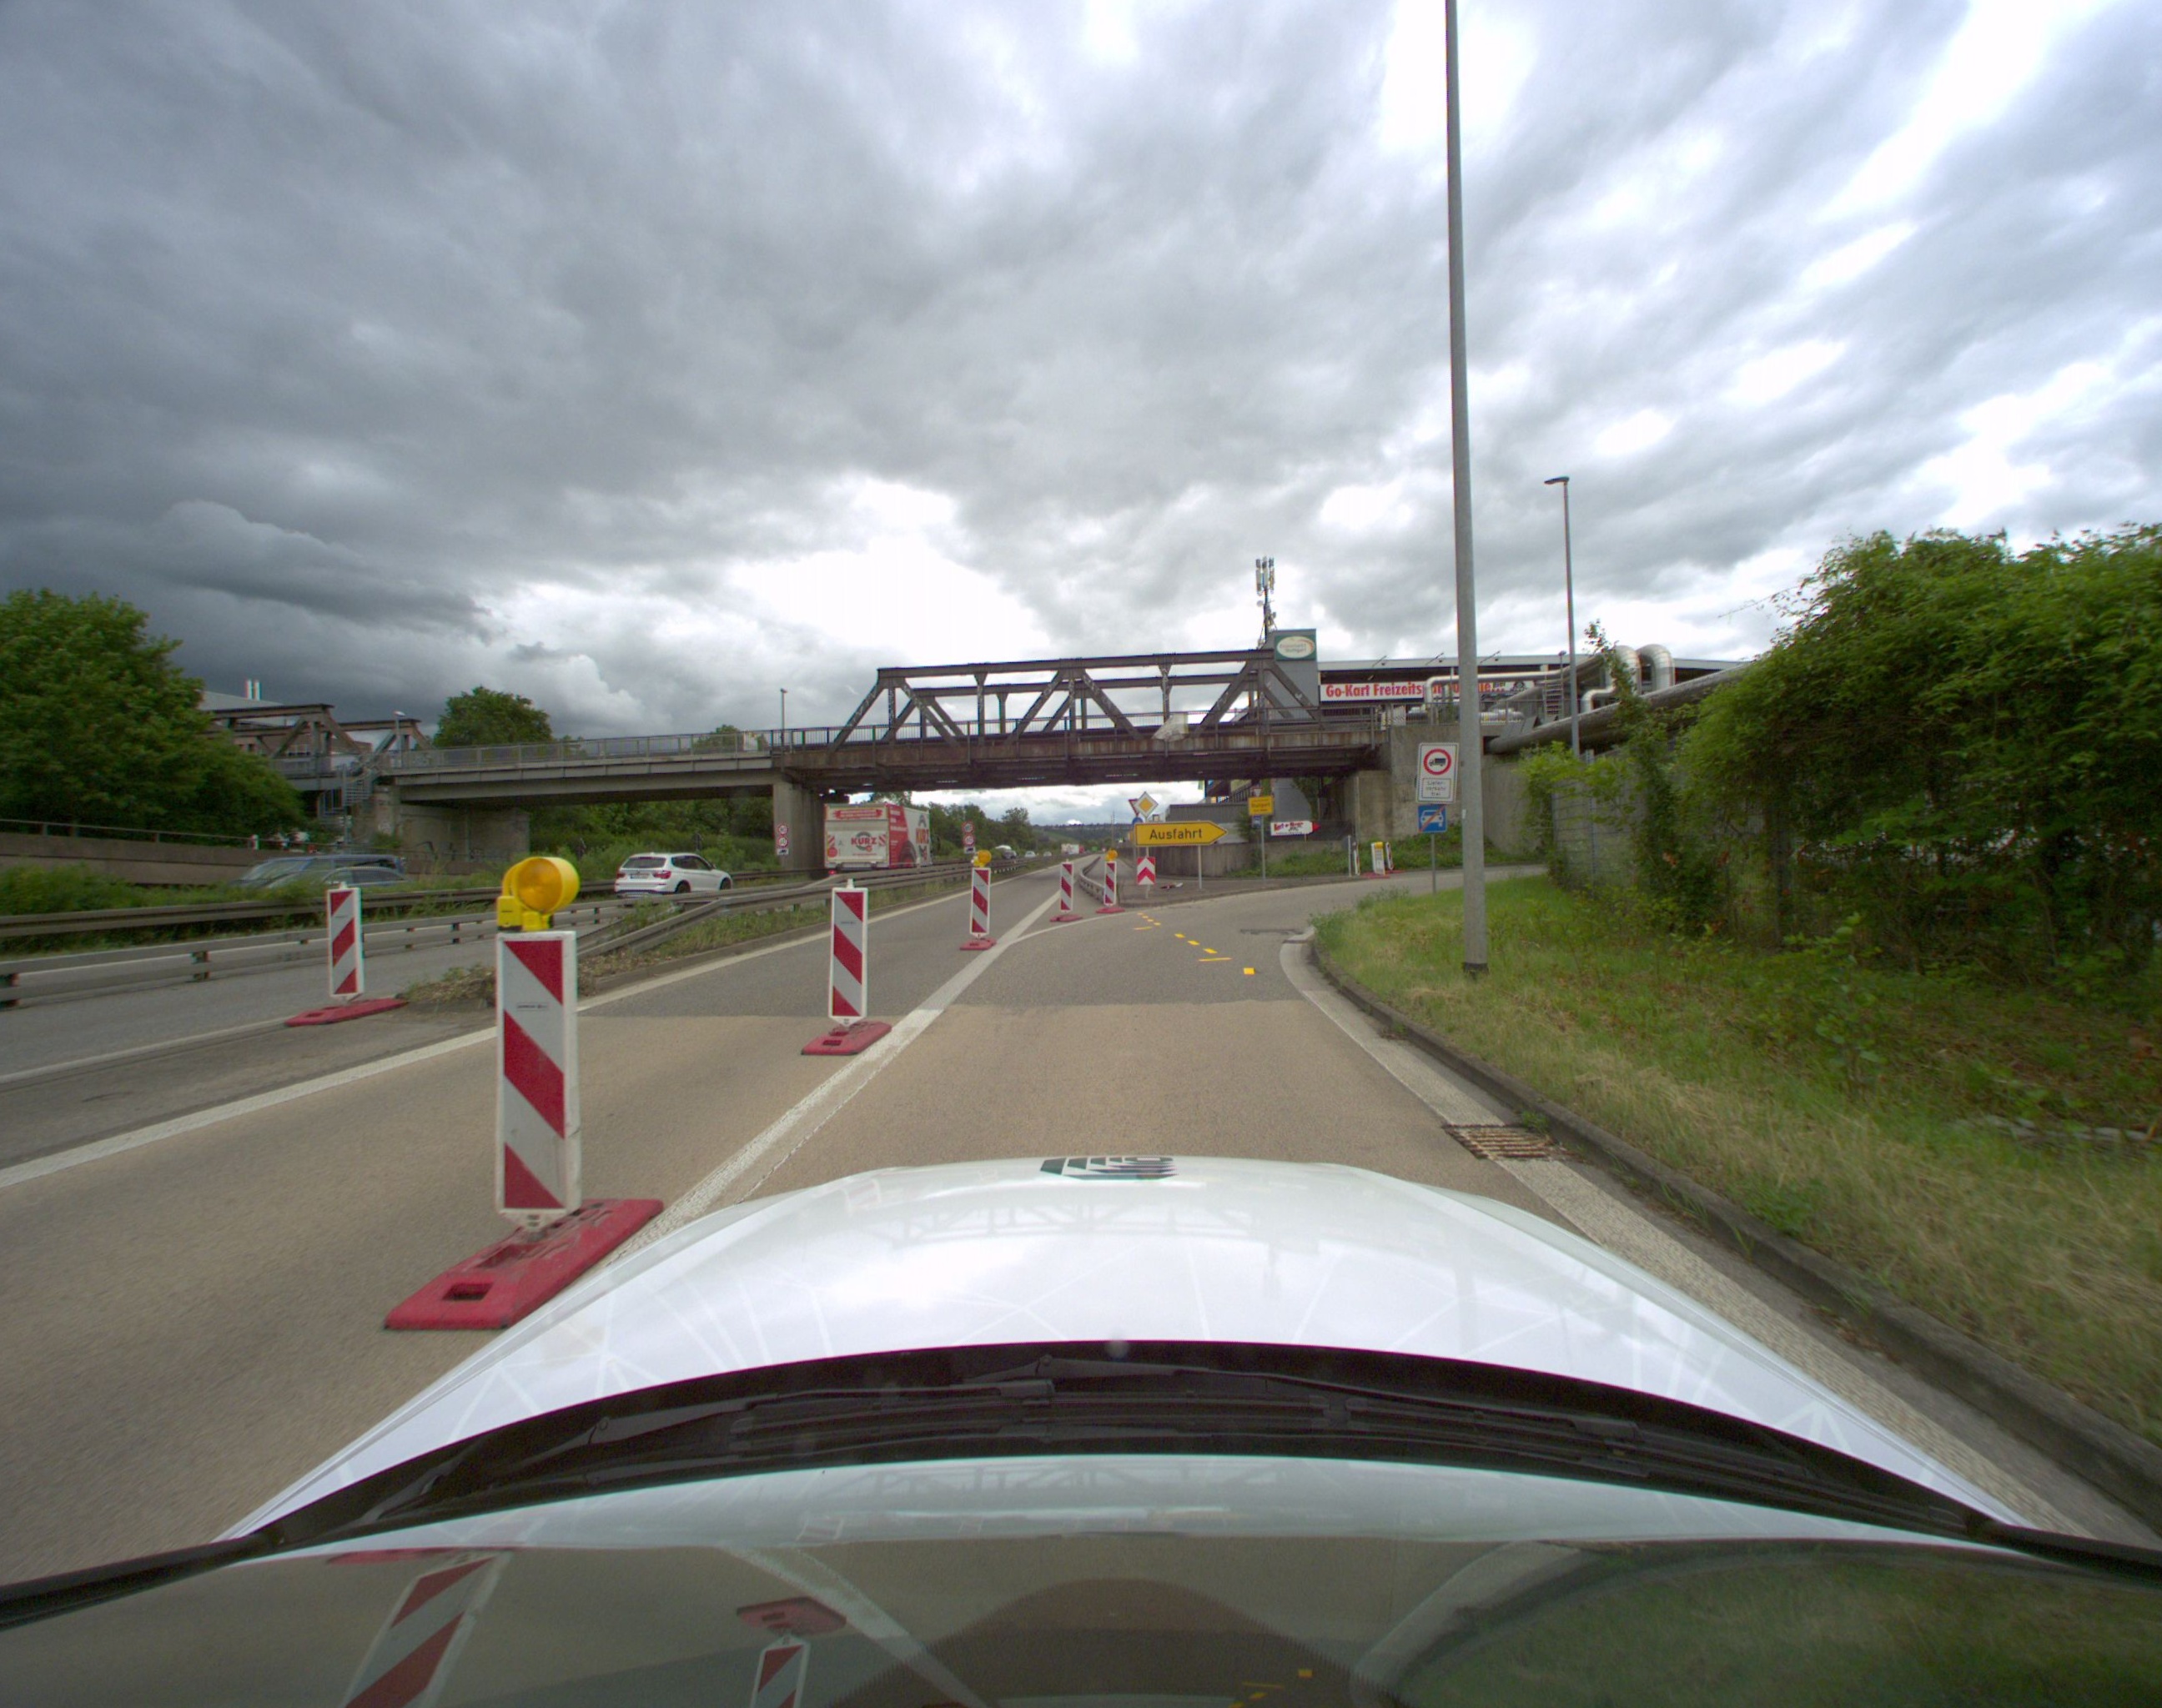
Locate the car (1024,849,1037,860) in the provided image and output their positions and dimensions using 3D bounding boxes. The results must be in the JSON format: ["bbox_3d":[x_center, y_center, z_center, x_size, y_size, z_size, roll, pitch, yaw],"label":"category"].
[{"bbox_3d":[-8.705,0.053,141.094,1.987,1.816,3.999,-1,0,-1],"label":"car"}]

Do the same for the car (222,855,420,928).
[{"bbox_3d":[-23.469,1.071,25.414,1.986,2.013,4.289,-1,0,2],"label":"car"}]

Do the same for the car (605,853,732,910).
[{"bbox_3d":[-13.156,0.817,26.287,1.848,1.640,4.292,-1,0,1],"label":"car"}]

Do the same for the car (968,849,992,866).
[{"bbox_3d":[-10.944,0.381,88.355,1.986,1.759,4.001,-2,0,1],"label":"car"}]

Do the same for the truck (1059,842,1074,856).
[{"bbox_3d":[-4.100,-1.421,229.796,3.705,3.645,7.732,-1,0,2],"label":"truck"}]

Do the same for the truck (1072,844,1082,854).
[{"bbox_3d":[-1.259,-1.439,248.922,2.671,3.140,6.136,0,0,2],"label":"truck"}]

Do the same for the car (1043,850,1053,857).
[{"bbox_3d":[-7.293,-0.094,180.564,1.772,1.596,3.752,-1,0,2],"label":"car"}]

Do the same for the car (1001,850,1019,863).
[{"bbox_3d":[-9.875,0.371,113.841,1.987,1.759,4.000,-2,0,1],"label":"car"}]

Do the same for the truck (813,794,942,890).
[{"bbox_3d":[-8.700,-0.451,36.438,2.942,3.629,10.156,-1,0,1],"label":"truck"}]

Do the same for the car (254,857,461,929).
[{"bbox_3d":[-19.714,0.987,22.472,1.986,1.705,4.003,-1,1,2],"label":"car"}]
